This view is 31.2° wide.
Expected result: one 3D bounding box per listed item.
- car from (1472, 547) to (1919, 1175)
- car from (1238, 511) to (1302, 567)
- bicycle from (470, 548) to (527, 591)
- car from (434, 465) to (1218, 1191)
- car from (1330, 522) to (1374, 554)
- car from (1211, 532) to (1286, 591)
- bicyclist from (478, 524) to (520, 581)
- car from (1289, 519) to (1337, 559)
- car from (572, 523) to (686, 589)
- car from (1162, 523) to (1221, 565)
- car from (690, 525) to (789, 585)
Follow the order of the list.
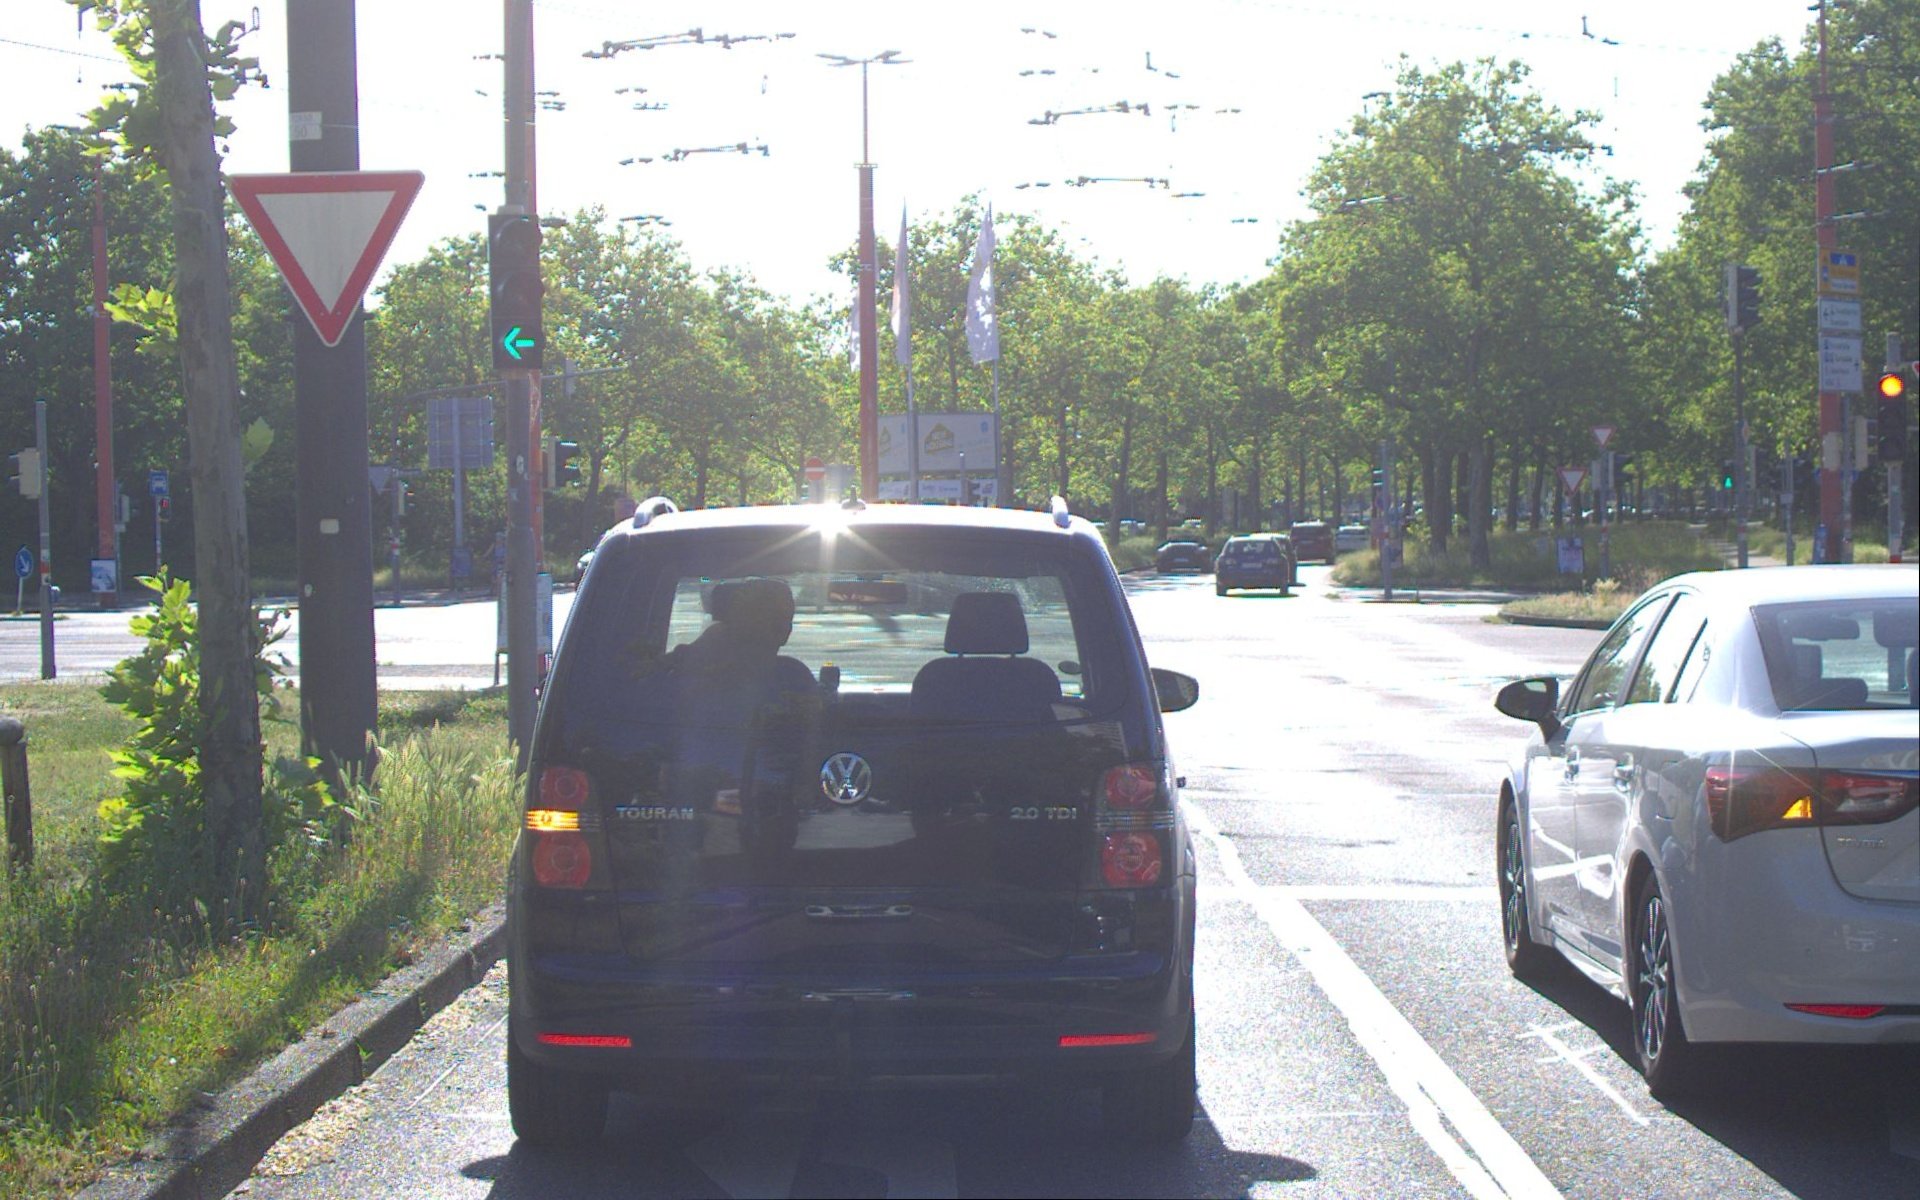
[{"bbox_3d":[2.731,0.595,10.429,1.767,1.459,4.366,0,1,1],"label":"car"},{"bbox_3d":[9.415,-1.843,104.376,1.873,1.621,3.999,1,1,5],"label":"car"},{"bbox_3d":[-12.647,-0.843,94.260,0.764,1.087,2.014,-1,2,17],"label":"bicycle"},{"bbox_3d":[-0.311,0.460,10.273,1.767,1.638,4.924,0,1,0],"label":"car"},{"bbox_3d":[17.810,-2.834,156.037,1.790,1.383,4.048,1,2,9],"label":"car"},{"bbox_3d":[7.116,-0.972,84.848,1.790,1.383,4.049,1,2,5],"label":"car"},{"bbox_3d":[-12.637,-1.306,94.325,0.759,1.552,0.980,-1,2,17],"label":"bicyclist"},{"bbox_3d":[13.979,-2.416,135.910,1.790,1.497,4.049,1,2,7],"label":"car"},{"bbox_3d":[-9.002,-1.215,93.737,1.903,1.720,4.652,0,1,10],"label":"car"},{"bbox_3d":[8.045,-1.956,119.092,1.790,1.383,4.049,1,2,7],"label":"car"},{"bbox_3d":[-5.833,-1.222,91.380,1.768,1.533,4.090,0,1,9],"label":"car"}]
